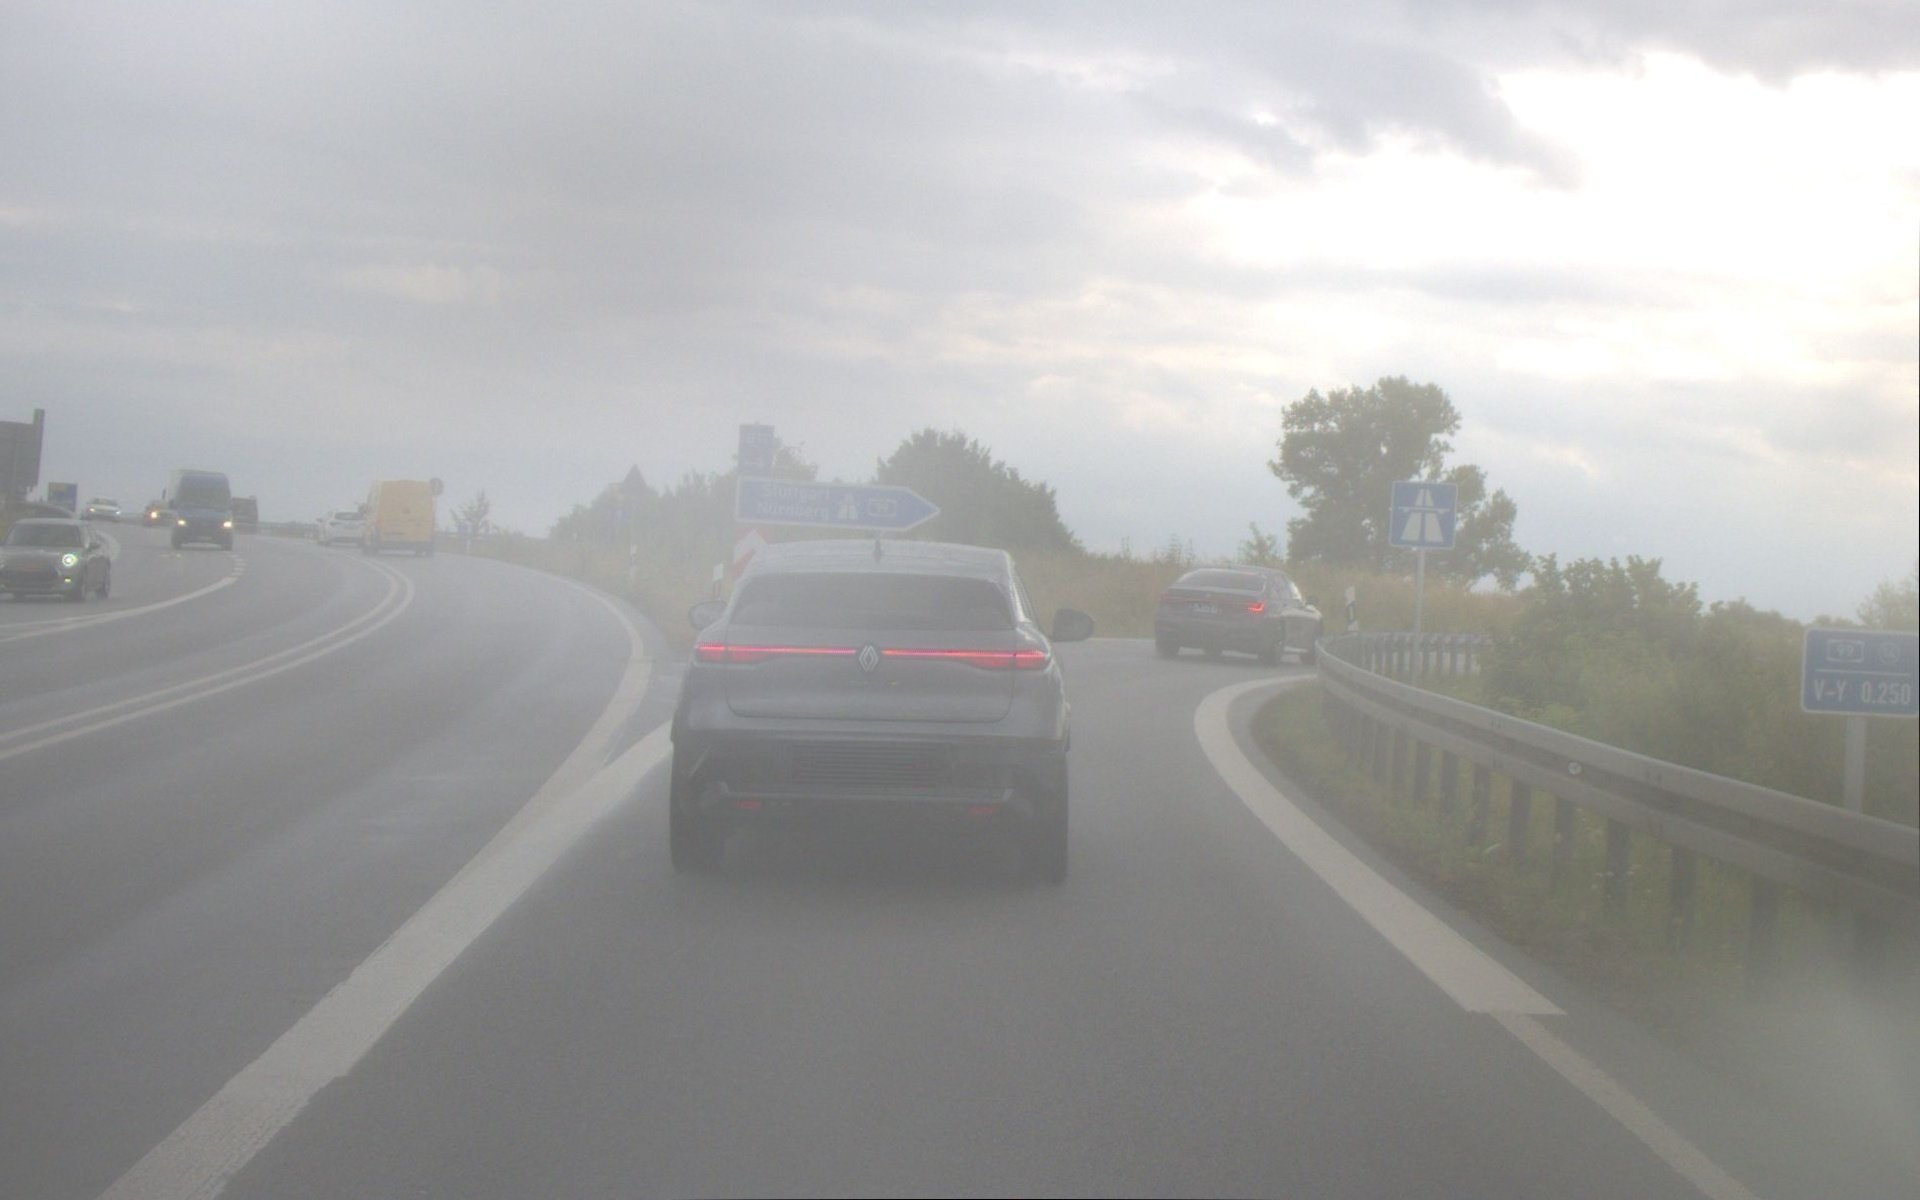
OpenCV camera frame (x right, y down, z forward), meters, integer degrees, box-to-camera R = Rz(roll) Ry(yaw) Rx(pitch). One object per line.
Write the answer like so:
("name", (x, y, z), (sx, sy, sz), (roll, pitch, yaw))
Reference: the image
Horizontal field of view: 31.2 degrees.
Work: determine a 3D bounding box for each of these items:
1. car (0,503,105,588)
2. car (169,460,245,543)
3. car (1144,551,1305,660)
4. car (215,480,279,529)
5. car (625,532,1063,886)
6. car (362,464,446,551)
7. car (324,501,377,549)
("car", (-16.366, -0.942, 61.036), (1.744, 1.361, 4.051), (-2, 0, -7))
("car", (-26.177, -3.416, 119.578), (2.351, 2.692, 6.997), (3, 1, -12))
("car", (4.161, 0.114, 53.578), (1.793, 1.436, 3.997), (5, -1, 13))
("car", (-36.572, -4.891, 176.273), (2.601, 2.243, 5.536), (2, -1, -17))
("car", (-0.518, 0.459, 16.273), (1.791, 1.436, 4.000), (1, 0, -1))
("car", (-18.593, -3.125, 115.256), (2.572, 2.716, 7.198), (2, 1, -9))
("car", (-23.534, -2.876, 132.566), (1.791, 1.682, 4.001), (2, -1, -13))
